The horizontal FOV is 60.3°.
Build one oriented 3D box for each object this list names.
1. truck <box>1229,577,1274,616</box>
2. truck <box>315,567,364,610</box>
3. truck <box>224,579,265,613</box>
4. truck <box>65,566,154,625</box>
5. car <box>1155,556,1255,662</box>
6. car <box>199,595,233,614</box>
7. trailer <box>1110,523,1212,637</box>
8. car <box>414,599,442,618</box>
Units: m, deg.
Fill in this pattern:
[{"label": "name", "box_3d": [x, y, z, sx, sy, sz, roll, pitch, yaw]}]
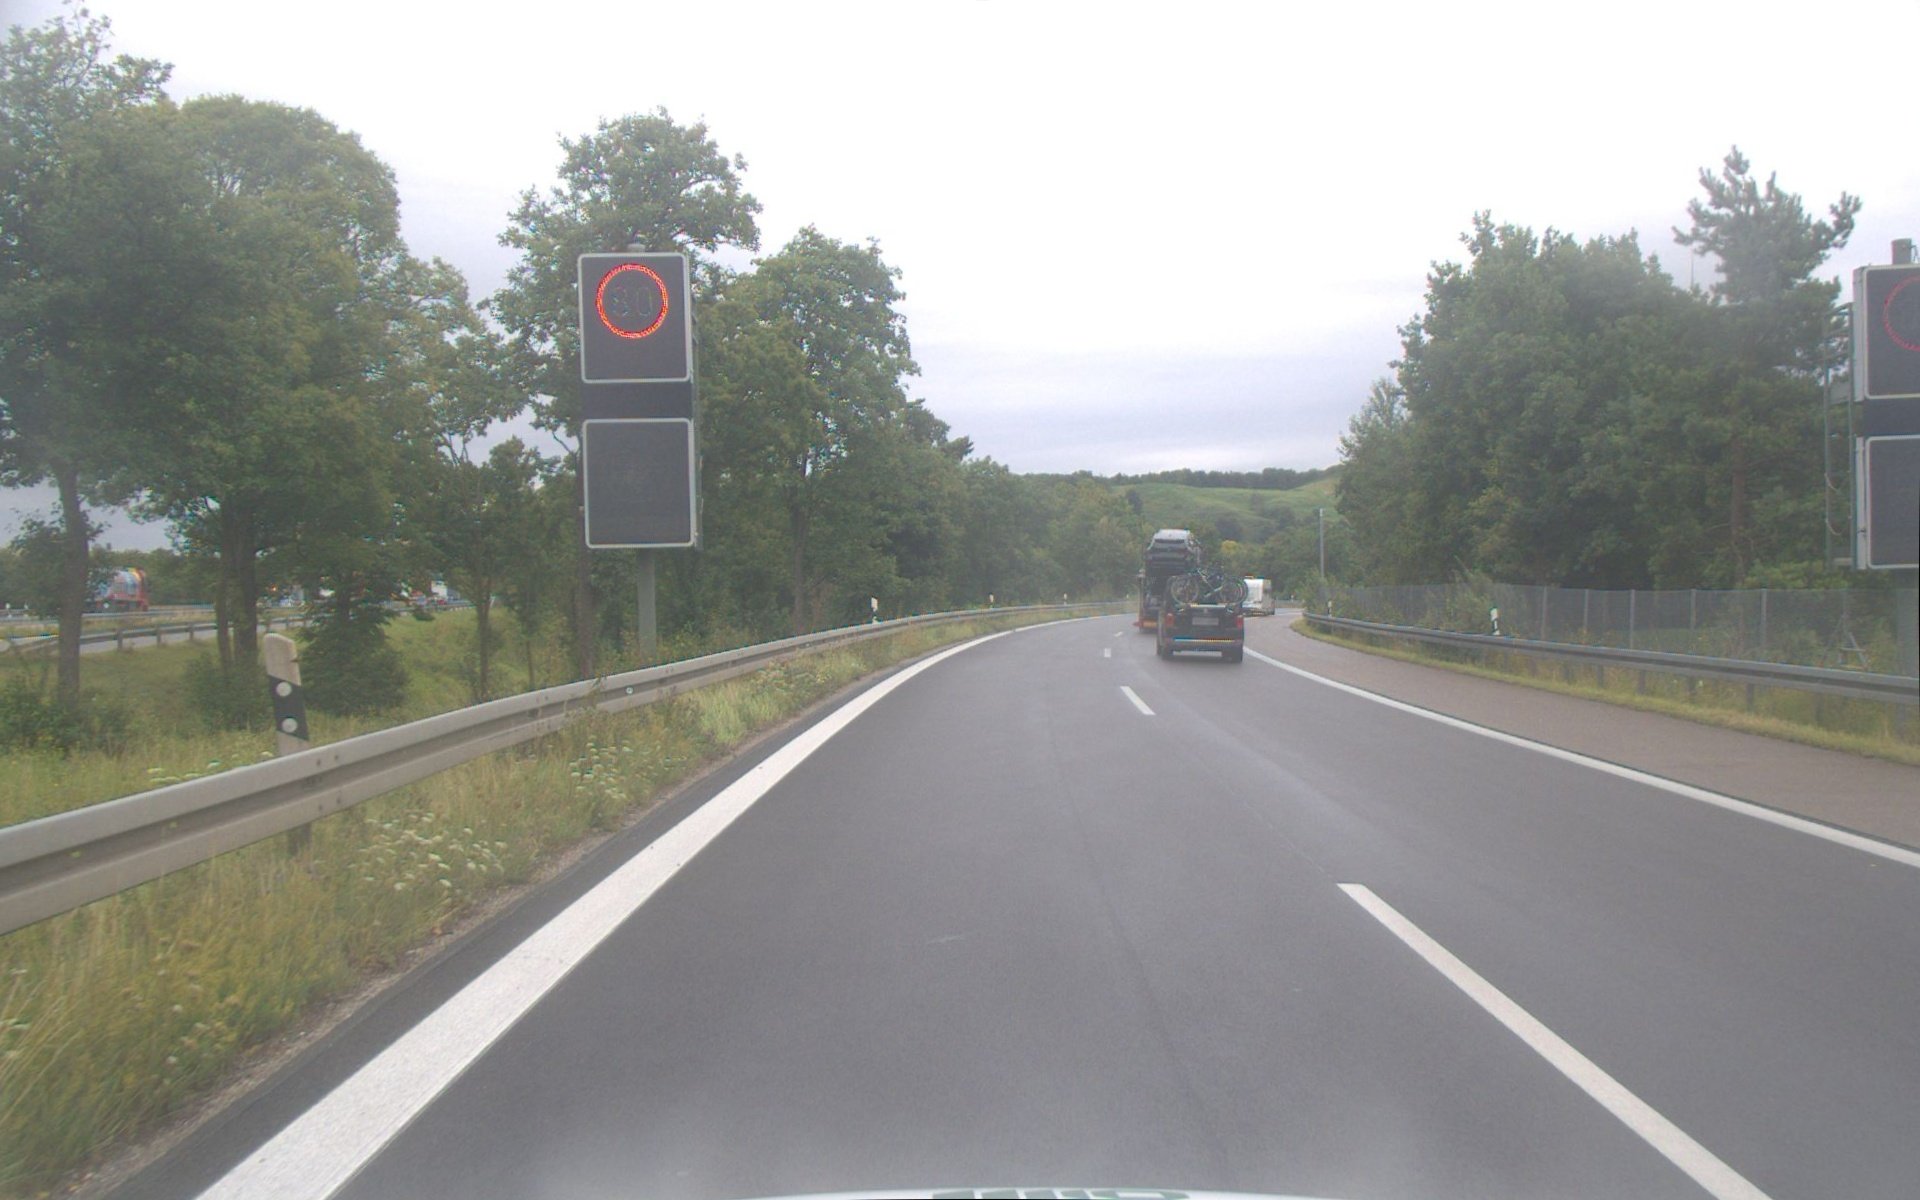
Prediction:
[{"label": "truck", "box_3d": [20.693, -0.290, 117.186, 2.592, 2.651, 6.424, 0, 1, 15]}, {"label": "truck", "box_3d": [-67.310, -1.218, 179.562, 3.669, 4.494, 10.161, 0, 0, -13]}, {"label": "truck", "box_3d": [-59.831, -0.349, 138.464, 2.204, 2.751, 5.262, 0, 0, -13]}, {"label": "truck", "box_3d": [-52.070, -0.306, 101.501, 2.807, 3.423, 8.602, 0, 0, -13]}, {"label": "car", "box_3d": [5.686, 0.176, 38.936, 2.065, 2.304, 5.900, 0, 0, 6]}, {"label": "car", "box_3d": [-64.819, 0.407, 144.165, 1.852, 1.601, 3.987, 0, 0, -12]}, {"label": "trailer", "box_3d": [7.928, -0.791, 66.886, 3.377, 4.069, 12.033, 2, 1, 4]}, {"label": "car", "box_3d": [-47.254, 0.734, 146.951, 1.927, 1.666, 5.606, 0, 0, -13]}]
